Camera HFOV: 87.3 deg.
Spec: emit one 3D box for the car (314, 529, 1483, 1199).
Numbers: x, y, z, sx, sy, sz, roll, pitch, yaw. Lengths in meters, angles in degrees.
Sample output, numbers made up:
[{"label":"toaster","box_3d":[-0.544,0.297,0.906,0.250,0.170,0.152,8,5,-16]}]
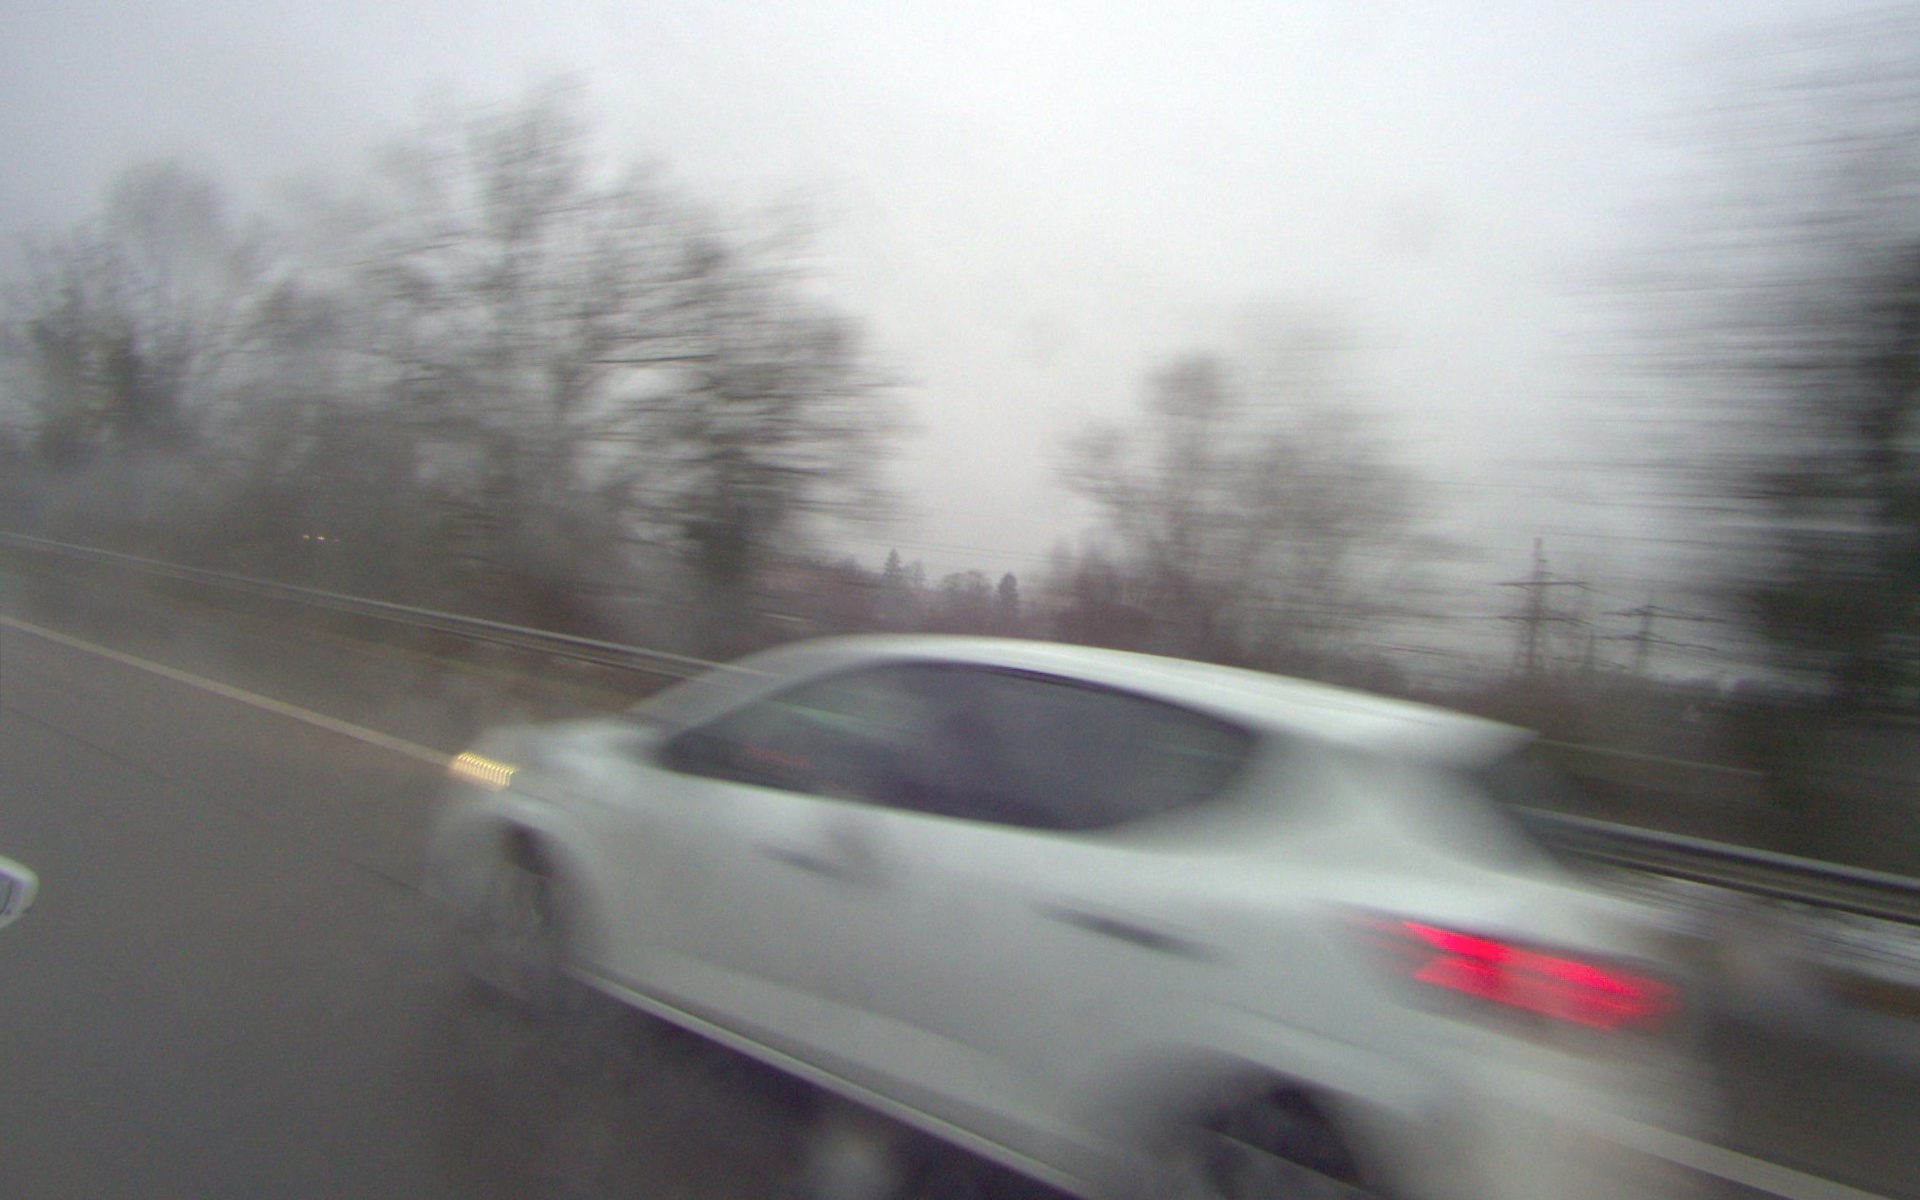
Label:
[{"label":"car","box_3d":[-0.367,0.761,3.794,3.933,1.520,1.801,7,-1,31]}]
